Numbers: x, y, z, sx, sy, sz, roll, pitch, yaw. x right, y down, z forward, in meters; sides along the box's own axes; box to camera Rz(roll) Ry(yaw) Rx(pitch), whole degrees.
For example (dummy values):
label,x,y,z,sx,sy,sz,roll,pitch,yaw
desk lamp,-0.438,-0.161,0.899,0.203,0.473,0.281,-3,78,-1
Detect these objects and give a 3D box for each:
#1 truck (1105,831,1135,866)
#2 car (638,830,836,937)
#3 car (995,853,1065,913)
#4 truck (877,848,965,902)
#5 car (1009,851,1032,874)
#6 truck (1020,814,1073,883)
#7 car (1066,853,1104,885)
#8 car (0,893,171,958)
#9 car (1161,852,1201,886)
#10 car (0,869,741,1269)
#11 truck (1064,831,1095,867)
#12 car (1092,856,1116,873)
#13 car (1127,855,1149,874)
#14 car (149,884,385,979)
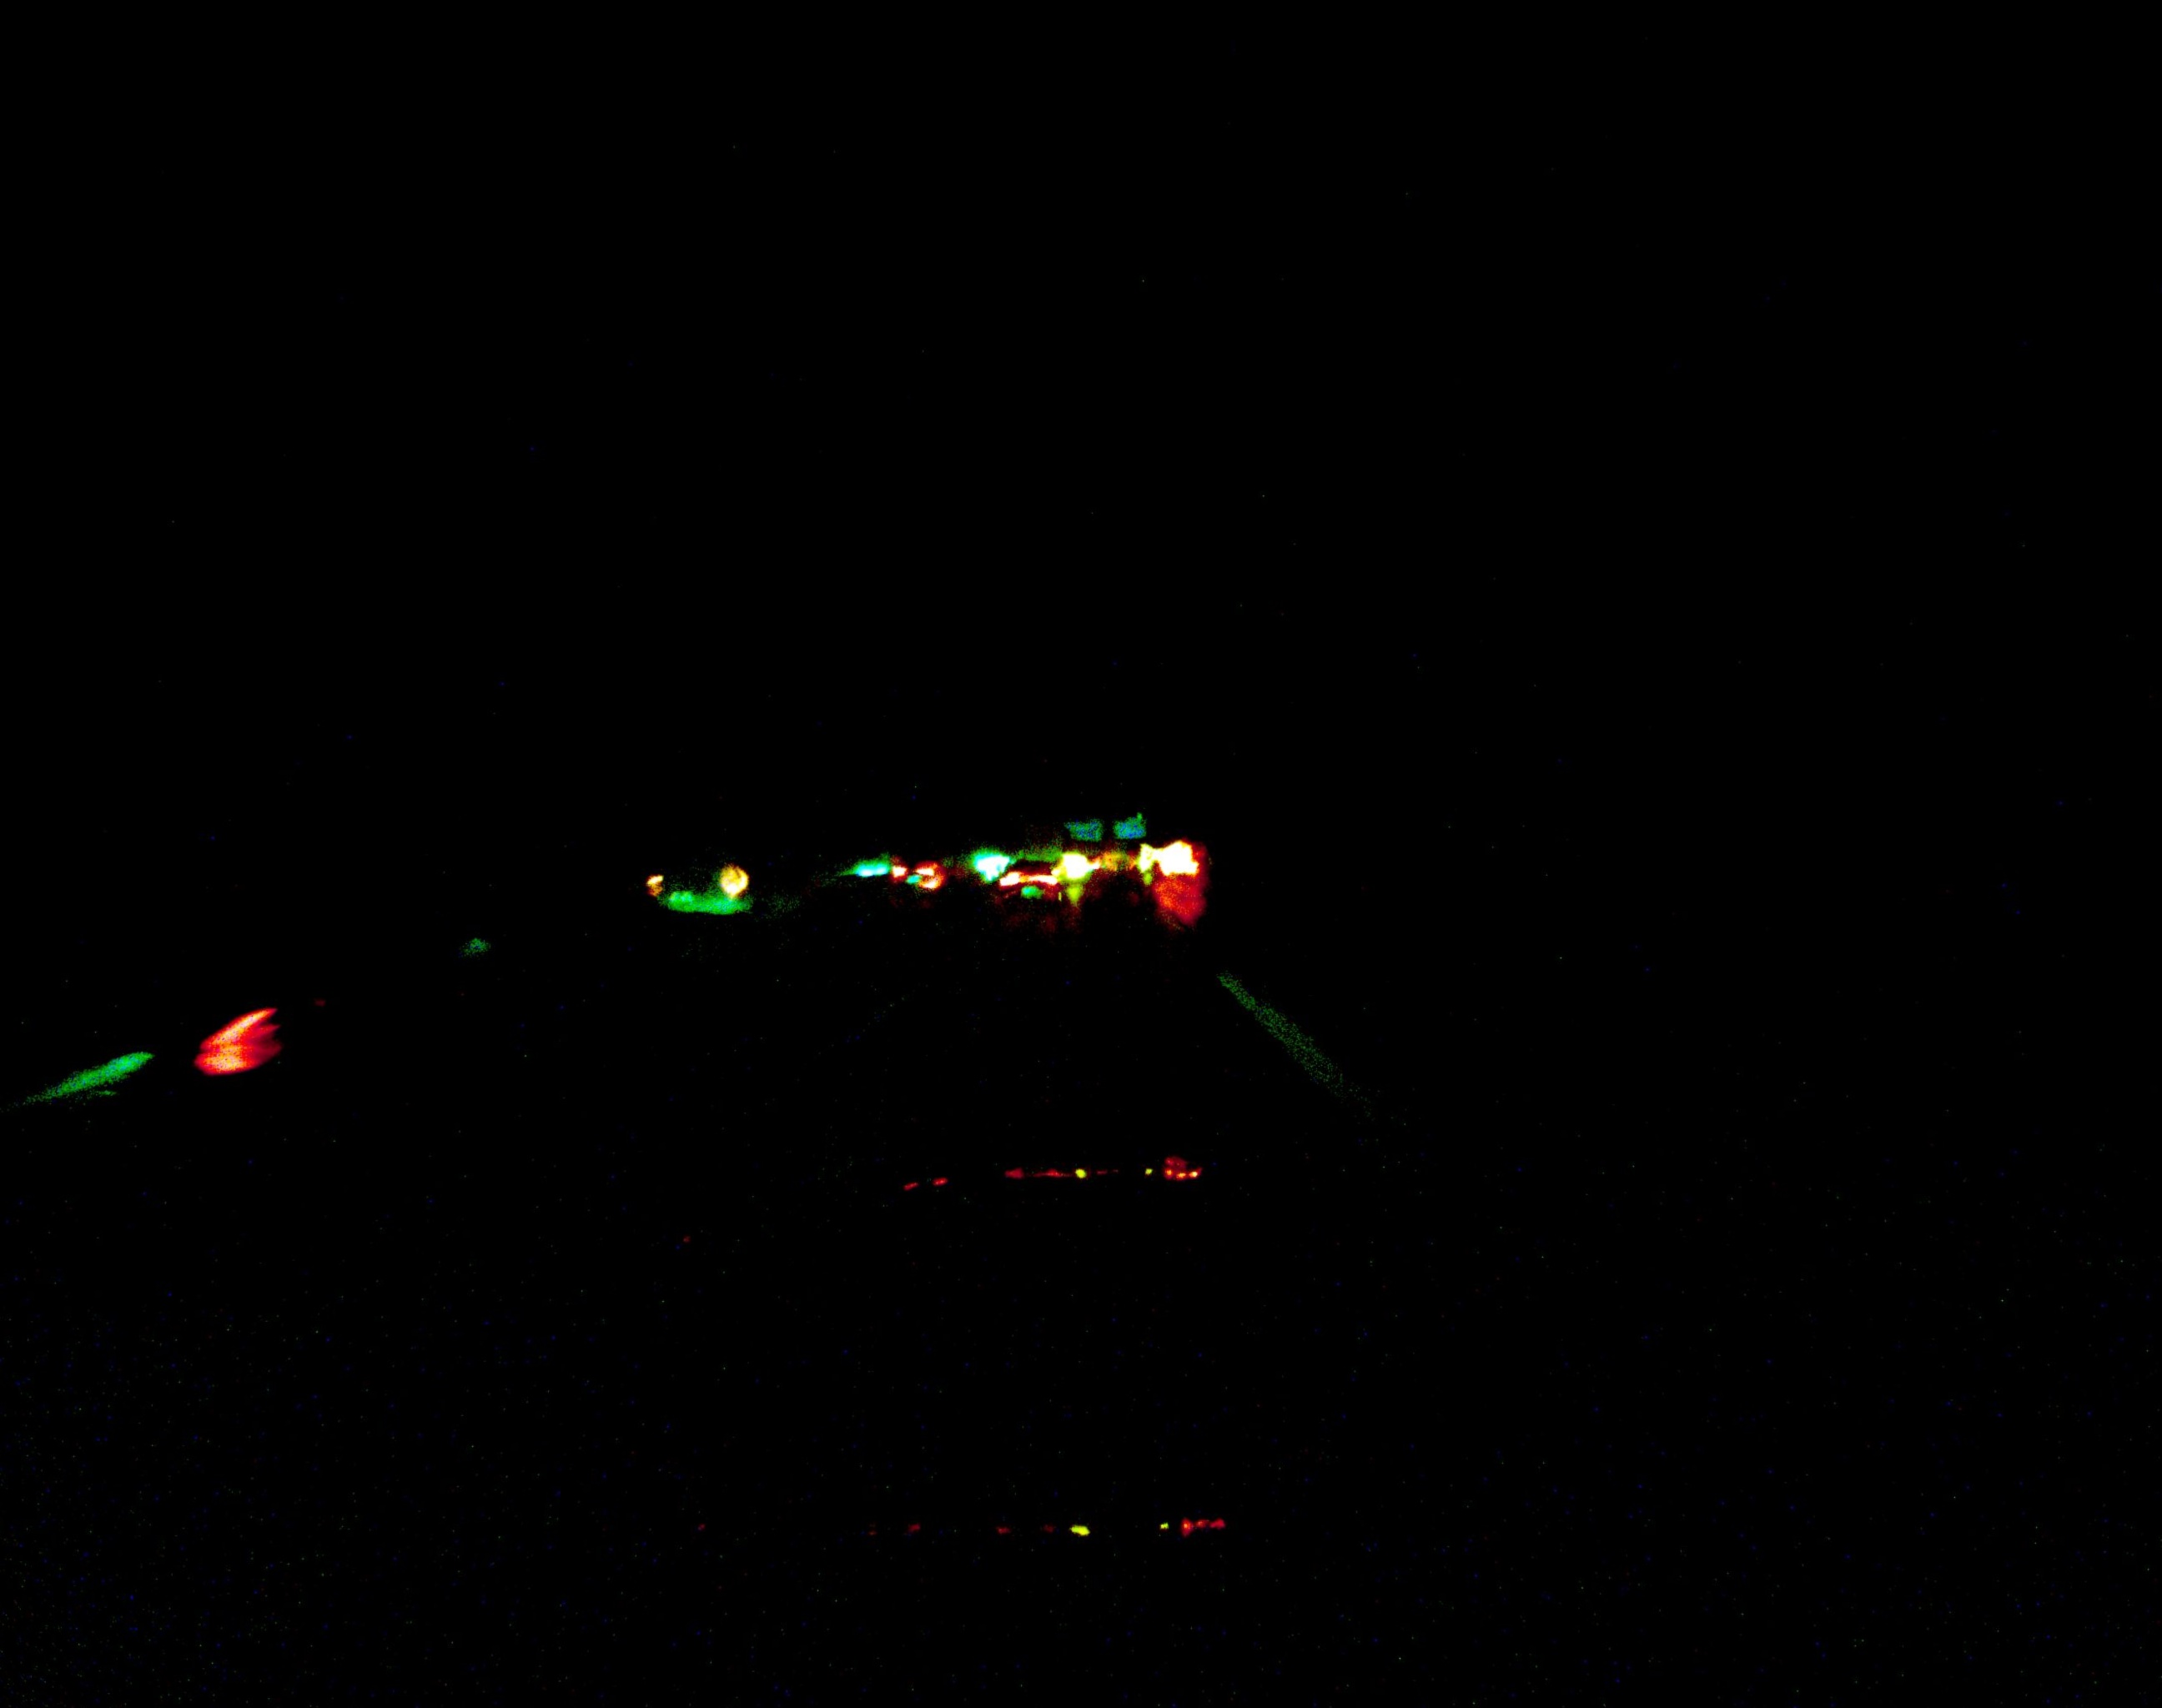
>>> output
label,x,y,z,sx,sy,sz,roll,pitch,yaw
truck,6.039,-0.731,127.877,4.149,5.215,9.949,0,-1,-1
car,-7.750,0.601,19.142,2.115,2.104,5.631,-1,0,2
car,-1.510,0.820,25.459,1.759,1.689,4.002,-1,0,2
truck,-6.998,0.904,36.502,2.849,2.201,5.856,0,-1,-1
car,-6.265,0.857,83.794,2.260,2.273,5.376,0,-1,-5
truck,-2.567,-0.360,61.280,3.647,4.737,9.843,0,-1,-2
car,0.254,0.833,46.233,2.031,1.761,4.517,0,-1,2
car,-30.782,2.096,24.764,1.756,1.673,3.888,0,-1,2
car,5.409,0.800,44.464,1.870,1.762,4.002,0,-1,2
car,-3.930,0.860,5.221,1.651,1.431,4.246,-1,0,0
truck,-0.141,-0.685,126.625,4.236,5.444,10.893,0,-1,3
car,2.833,1.260,99.306,2.822,2.014,5.513,0,-1,2
car,5.411,0.980,77.709,1.986,1.704,4.460,0,-1,2
car,-20.135,1.830,20.433,1.784,2.014,4.001,0,-1,2
